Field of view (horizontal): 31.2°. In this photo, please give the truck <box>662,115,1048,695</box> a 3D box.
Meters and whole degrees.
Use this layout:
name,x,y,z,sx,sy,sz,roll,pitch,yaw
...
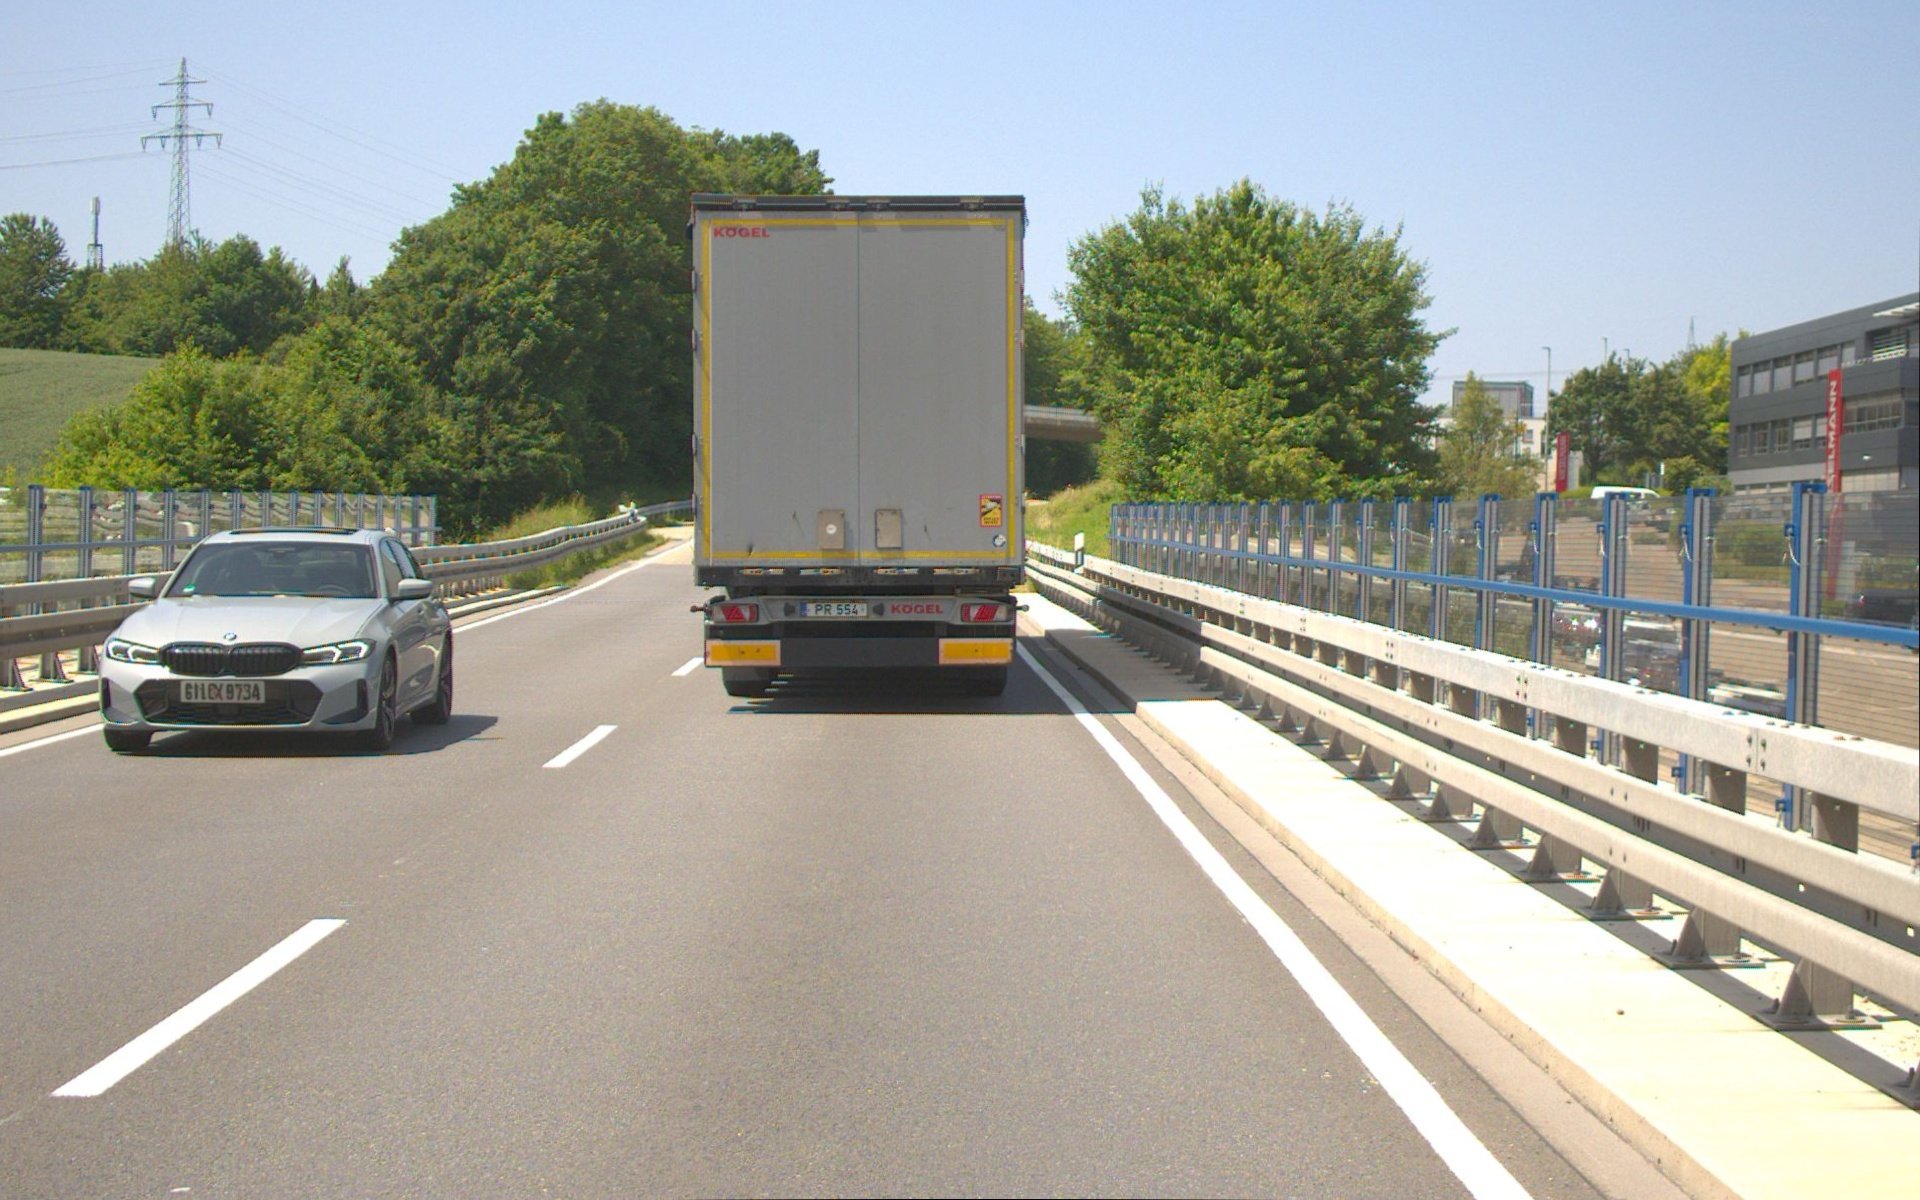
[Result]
name,x,y,z,sx,sy,sz,roll,pitch,yaw
truck,-0.926,-1.501,30.814,2.866,4.344,9.789,-1,0,-2

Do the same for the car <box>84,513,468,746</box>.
name,x,y,z,sx,sy,sz,roll,pitch,yaw
car,-4.566,0.124,23.650,1.781,1.431,4.835,0,1,-1
